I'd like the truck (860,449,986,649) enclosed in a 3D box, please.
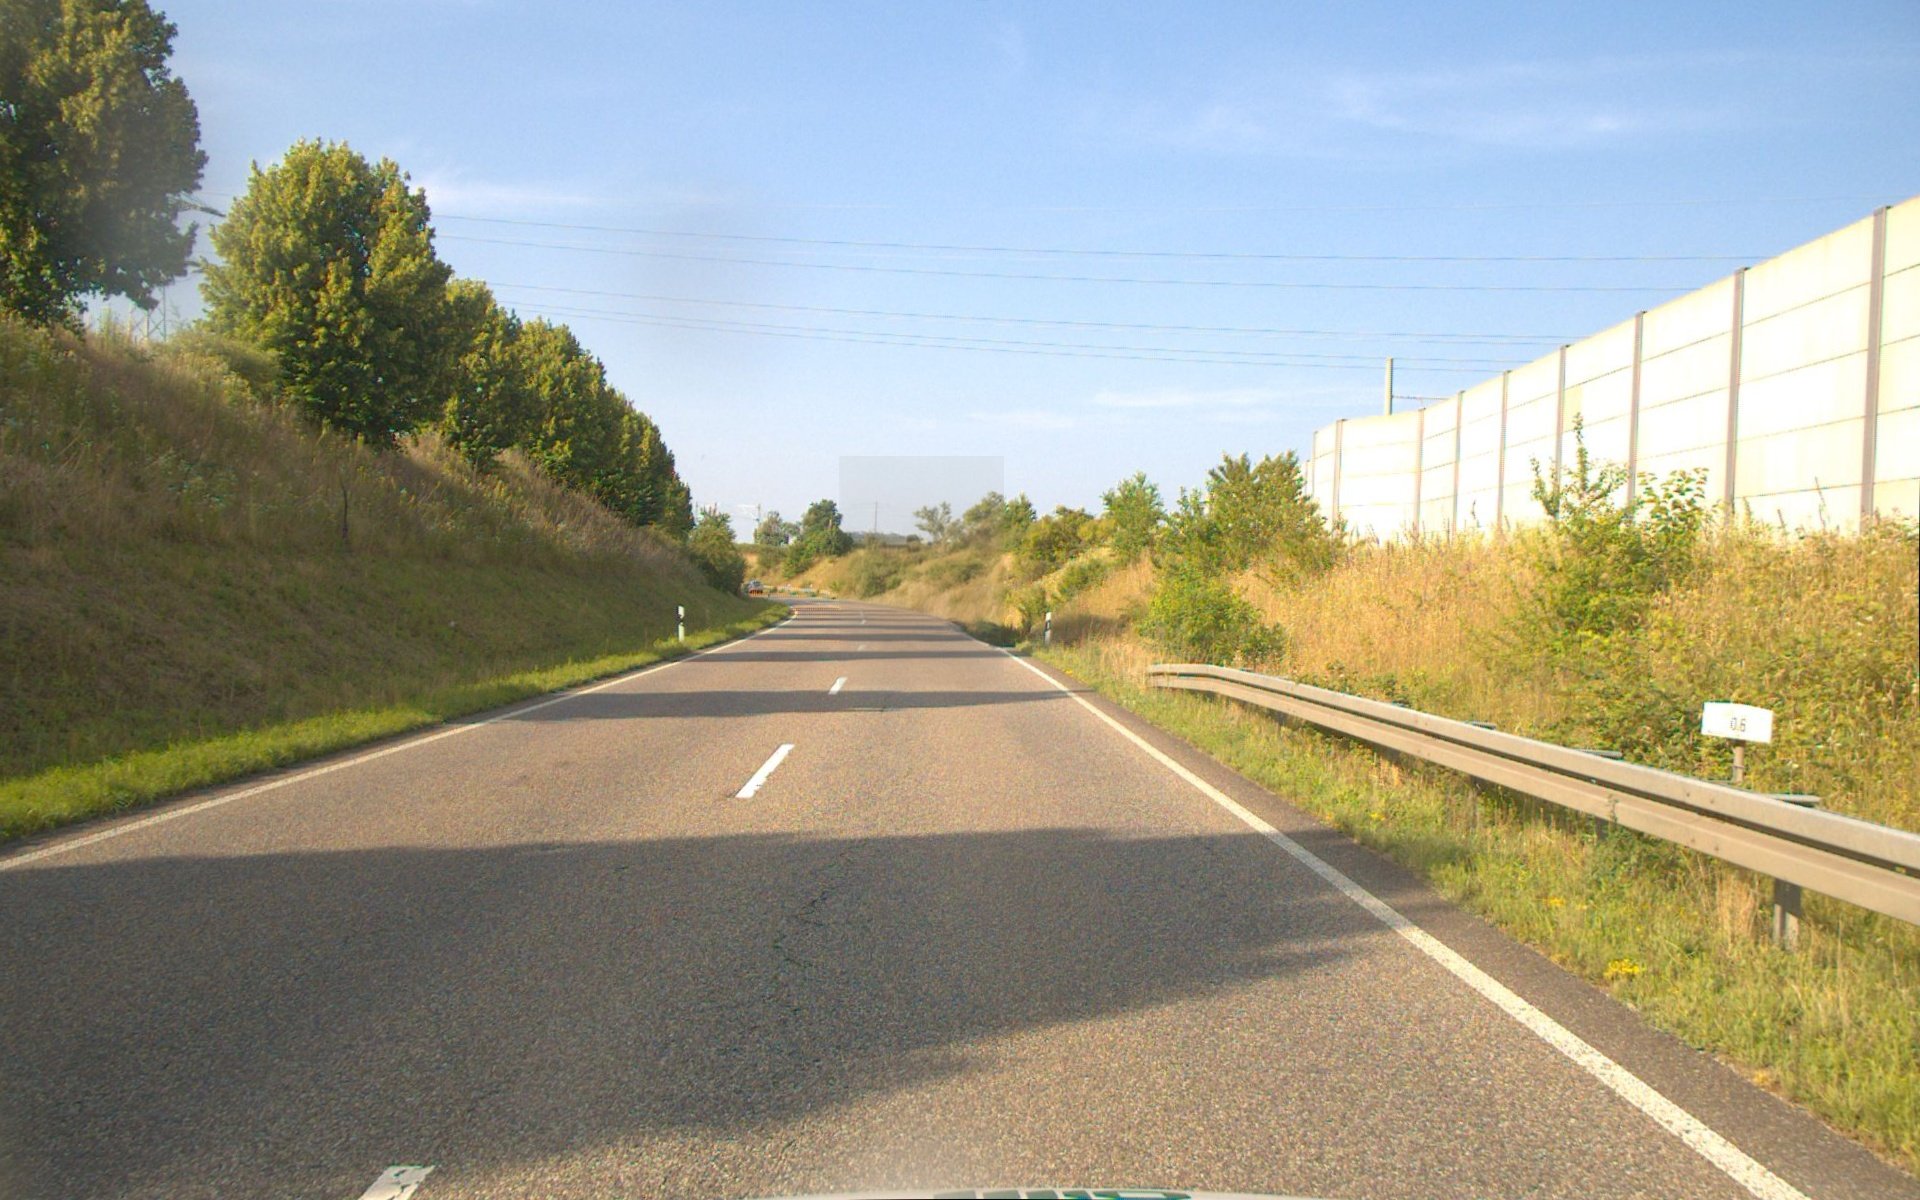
[{"bbox_3d":[-1.153,-1.420,49.182,3.224,5.178,12.034,1,1,-2],"label":"truck"}]

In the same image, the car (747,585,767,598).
[{"bbox_3d":[-25.620,-1.091,208.757,2.004,1.609,4.359,1,0,0],"label":"car"}]
